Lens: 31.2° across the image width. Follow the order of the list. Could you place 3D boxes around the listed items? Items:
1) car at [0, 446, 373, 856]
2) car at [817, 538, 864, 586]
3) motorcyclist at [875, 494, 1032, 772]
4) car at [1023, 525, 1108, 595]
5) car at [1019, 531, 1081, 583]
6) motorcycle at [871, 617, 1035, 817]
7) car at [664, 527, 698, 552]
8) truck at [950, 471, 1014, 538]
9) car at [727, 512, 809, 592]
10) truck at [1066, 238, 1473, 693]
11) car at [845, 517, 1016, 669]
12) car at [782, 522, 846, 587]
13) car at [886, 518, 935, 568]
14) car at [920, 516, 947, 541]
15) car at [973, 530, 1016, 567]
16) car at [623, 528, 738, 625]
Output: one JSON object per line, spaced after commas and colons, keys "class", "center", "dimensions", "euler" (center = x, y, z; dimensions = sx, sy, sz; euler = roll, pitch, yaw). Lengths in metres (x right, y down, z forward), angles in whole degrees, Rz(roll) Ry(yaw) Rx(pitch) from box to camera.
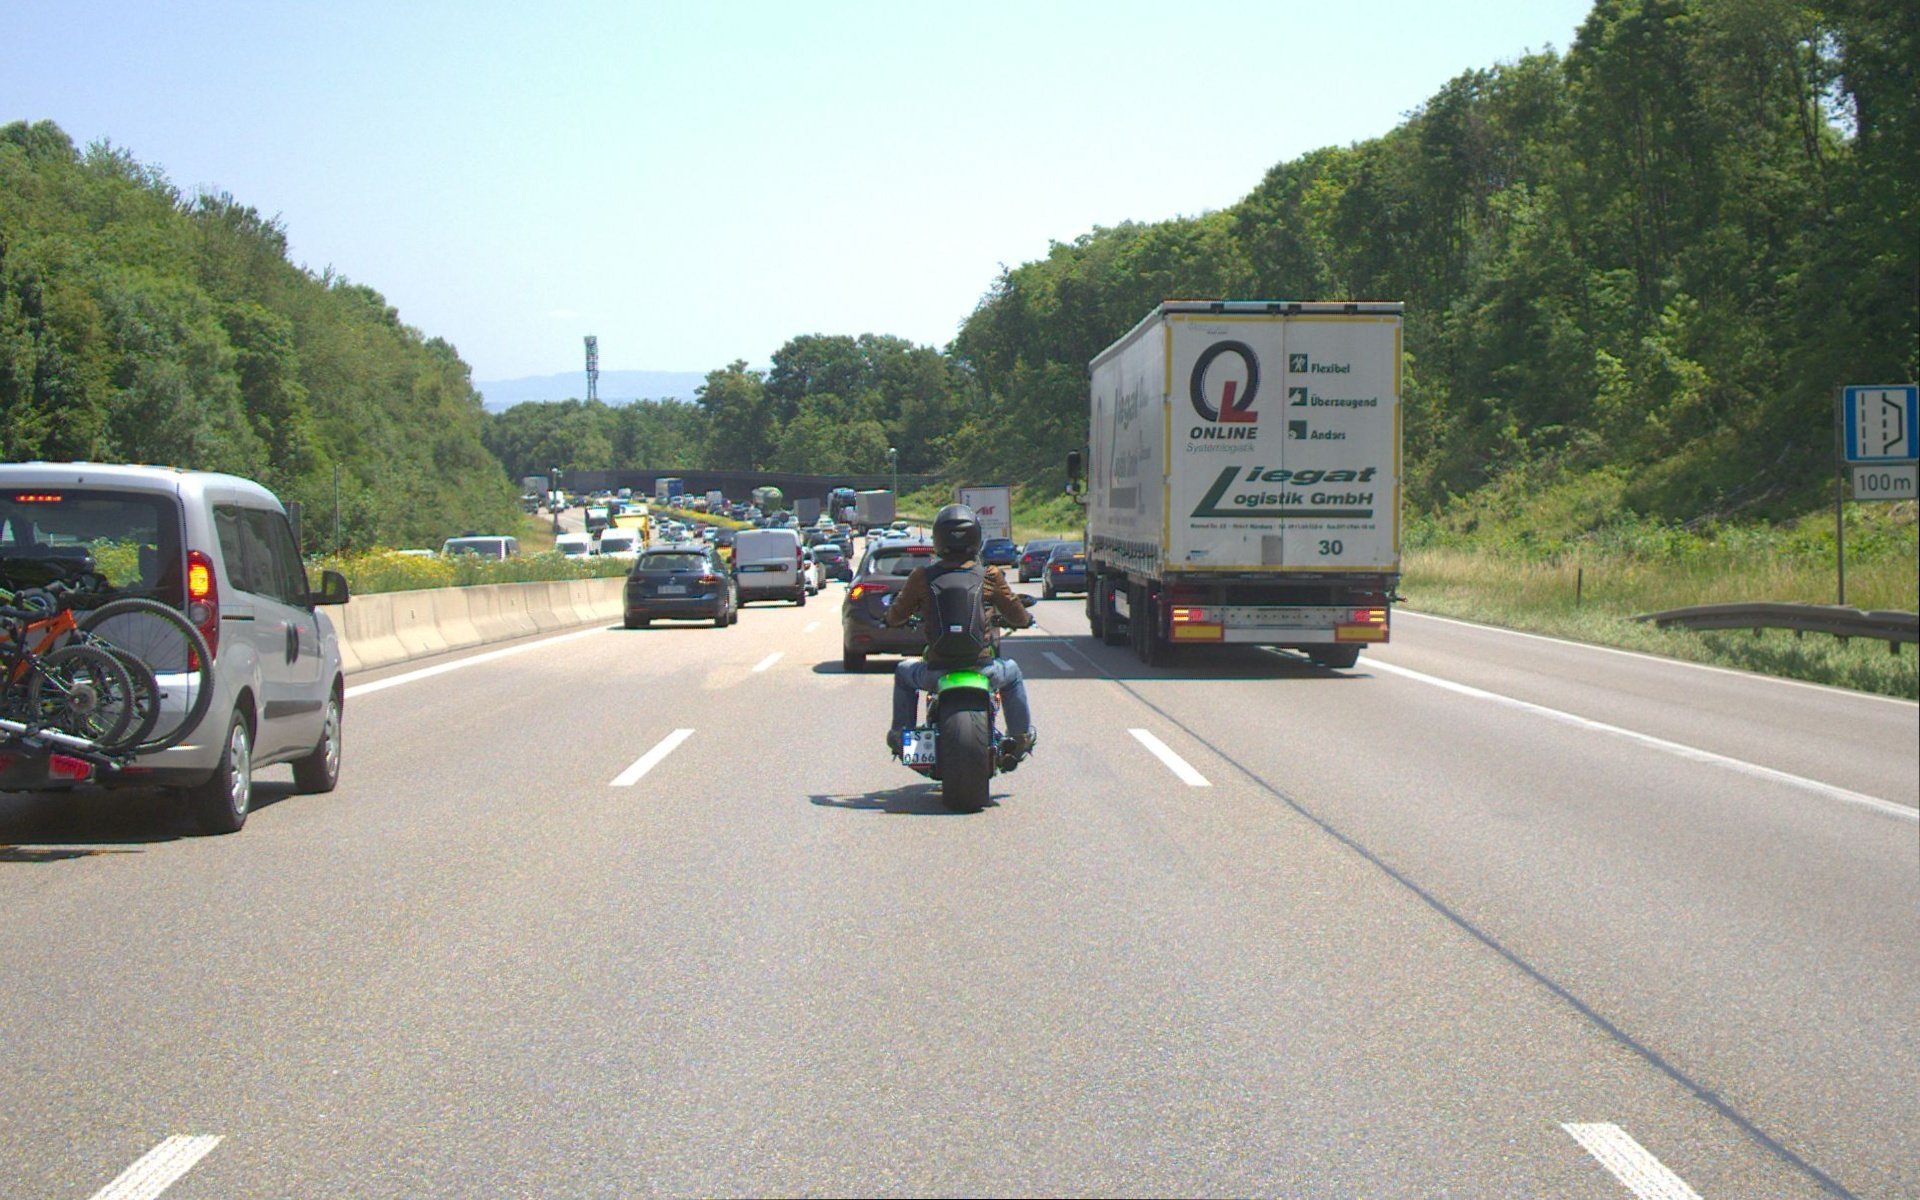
{"class": "car", "center": [-4.479, 0.165, 18.199], "dimensions": [1.898, 1.841, 5.484], "euler": [0, 1, -1]}
{"class": "car", "center": [-4.863, -1.572, 140.294], "dimensions": [1.831, 1.804, 4.121], "euler": [0, 2, -1]}
{"class": "motorcyclist", "center": [-0.034, 0.166, 19.139], "dimensions": [0.856, 1.509, 0.914], "euler": [0, 1, 0]}
{"class": "car", "center": [2.535, -0.996, 83.320], "dimensions": [1.831, 1.553, 4.121], "euler": [0, 2, -1]}
{"class": "car", "center": [2.950, -1.433, 113.540], "dimensions": [1.831, 1.553, 4.121], "euler": [0, 2, -1]}
{"class": "motorcycle", "center": [-0.033, 0.622, 19.158], "dimensions": [0.862, 0.978, 2.131], "euler": [0, 2, 0]}
{"class": "car", "center": [-19.425, -4.212, 239.254], "dimensions": [1.911, 1.683, 4.832], "euler": [1, 1, 1]}
{"class": "truck", "center": [1.108, -5.022, 178.739], "dimensions": [3.067, 3.335, 9.653], "euler": [1, 2, -1]}
{"class": "car", "center": [-4.643, -1.182, 83.522], "dimensions": [1.831, 1.804, 4.121], "euler": [0, 2, -1]}
{"class": "truck", "center": [3.527, -1.744, 45.028], "dimensions": [3.383, 4.701, 17.711], "euler": [1, 2, -1]}
{"class": "car", "center": [-0.366, -0.127, 39.515], "dimensions": [1.845, 1.552, 4.440], "euler": [0, 2, -1]}
{"class": "car", "center": [-4.352, -1.370, 102.937], "dimensions": [1.831, 1.804, 4.121], "euler": [0, 2, -1]}
{"class": "car", "center": [-1.925, -2.200, 132.666], "dimensions": [1.831, 1.804, 4.121], "euler": [0, 2, -1]}
{"class": "car", "center": [-1.804, -4.867, 233.352], "dimensions": [1.831, 1.553, 4.121], "euler": [0, 2, -1]}
{"class": "car", "center": [1.556, -2.367, 157.344], "dimensions": [1.831, 1.553, 4.121], "euler": [0, 2, -1]}
{"class": "car", "center": [-4.892, -0.444, 60.663], "dimensions": [1.757, 1.538, 4.396], "euler": [0, 2, -1]}
